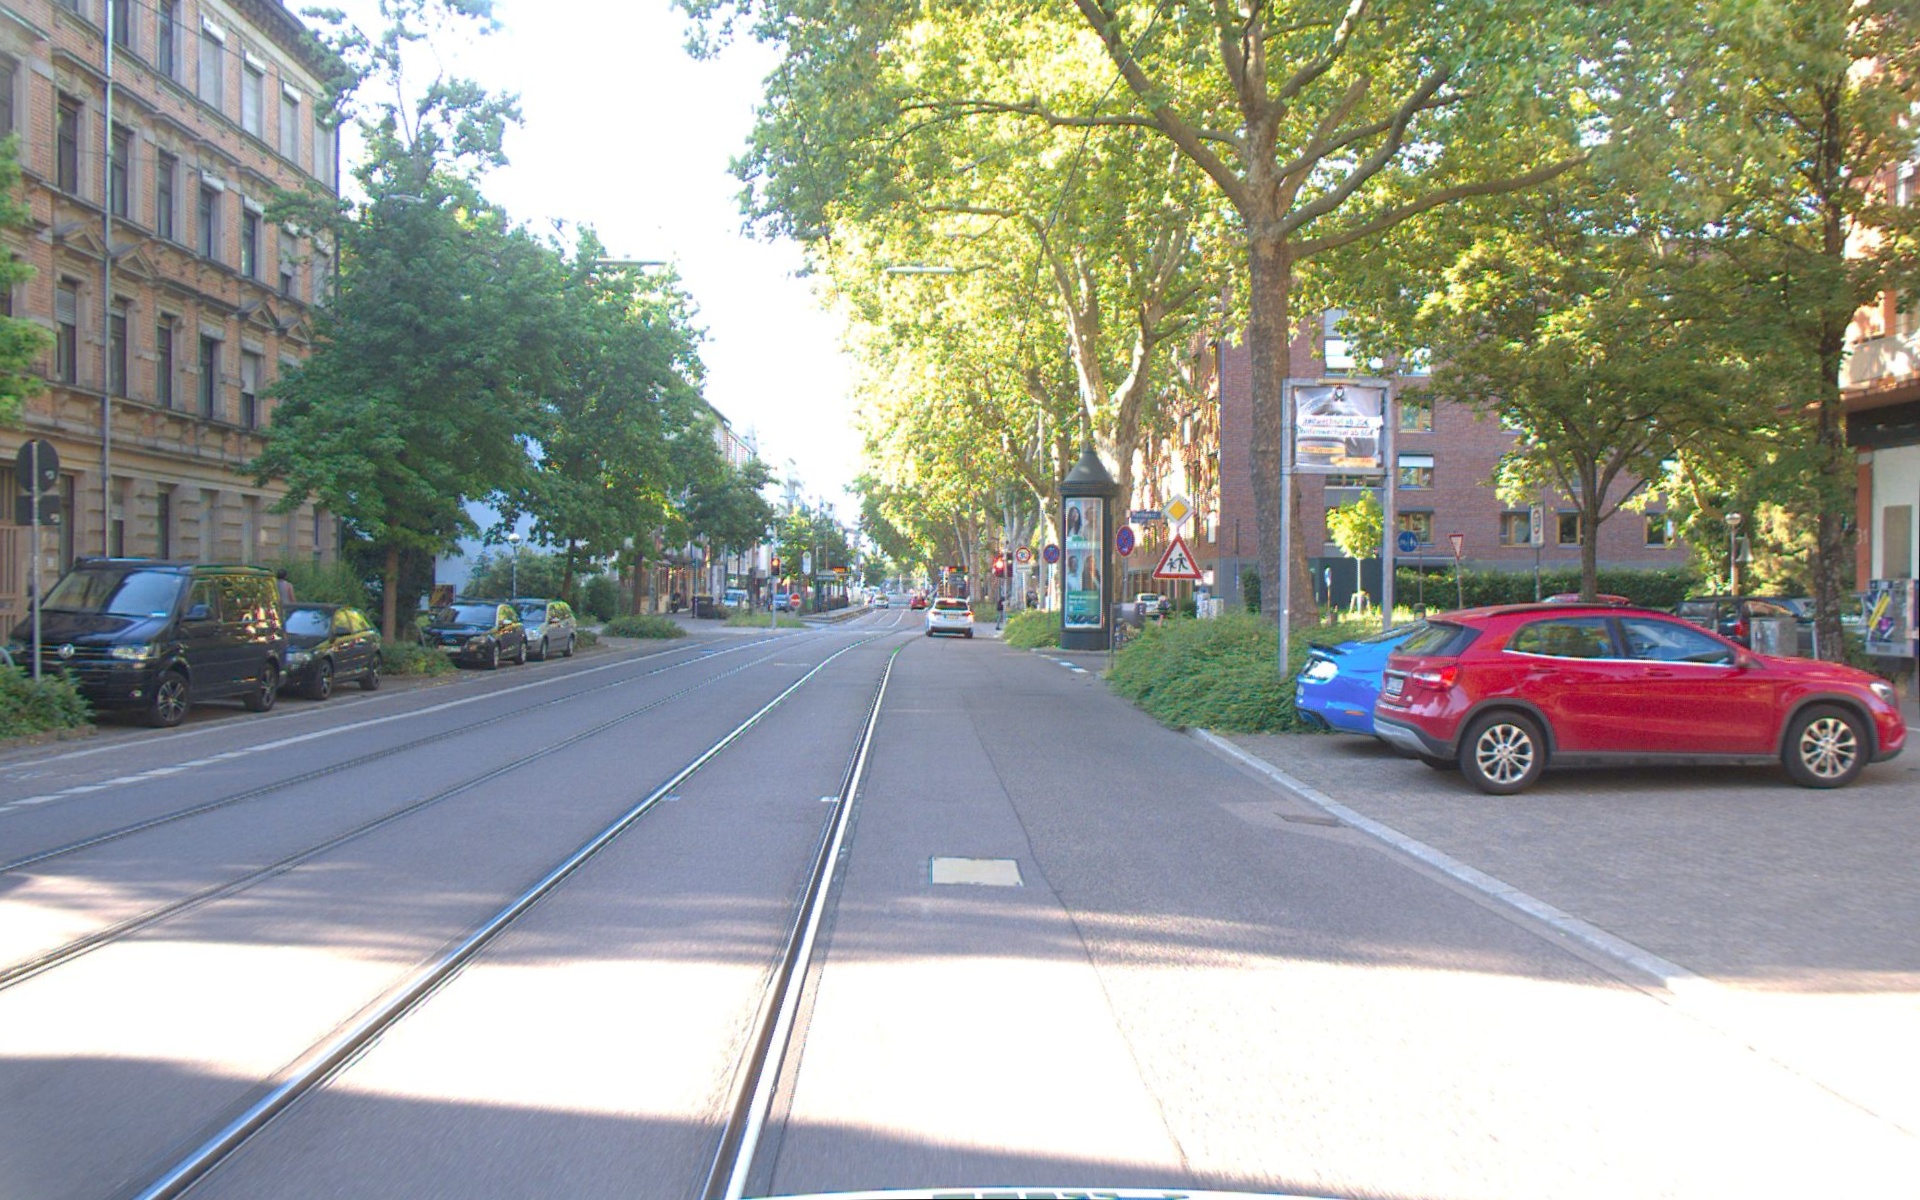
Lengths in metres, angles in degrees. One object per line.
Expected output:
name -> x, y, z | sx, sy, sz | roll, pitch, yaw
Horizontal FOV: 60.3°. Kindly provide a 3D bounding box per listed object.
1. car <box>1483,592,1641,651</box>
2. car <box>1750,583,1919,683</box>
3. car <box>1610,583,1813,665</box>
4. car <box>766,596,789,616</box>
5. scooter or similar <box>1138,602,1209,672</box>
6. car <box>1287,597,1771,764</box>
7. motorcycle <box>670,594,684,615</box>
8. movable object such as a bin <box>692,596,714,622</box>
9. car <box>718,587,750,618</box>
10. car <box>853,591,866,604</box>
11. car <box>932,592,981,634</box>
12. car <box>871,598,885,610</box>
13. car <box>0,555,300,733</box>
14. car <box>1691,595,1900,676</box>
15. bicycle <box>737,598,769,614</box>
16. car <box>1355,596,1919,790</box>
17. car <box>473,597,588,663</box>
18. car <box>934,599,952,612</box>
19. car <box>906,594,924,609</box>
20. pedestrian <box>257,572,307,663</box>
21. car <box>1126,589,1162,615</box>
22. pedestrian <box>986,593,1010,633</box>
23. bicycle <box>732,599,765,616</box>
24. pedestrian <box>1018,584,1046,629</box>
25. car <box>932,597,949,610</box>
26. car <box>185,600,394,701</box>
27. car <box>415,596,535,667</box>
car -> 15.591, 0.534, 42.908 | 3.468, 1.477, 1.682 | 0, 0, -4
car -> 14.575, 0.475, 26.386 | 1.713, 1.460, 4.466 | 0, 0, -1
car -> 15.628, 0.452, 34.699 | 1.755, 1.602, 4.571 | 0, 0, -7
car -> -15.382, 0.486, 139.185 | 1.561, 1.575, 3.998 | 2, 0, -2
scooter or similar -> 3.902, 0.676, 30.259 | 1.184, 1.261, 0.569 | 0, -1, -4
car -> 5.569, 0.752, 16.666 | 4.310, 1.570, 1.819 | 0, 0, 5
motorcycle -> -18.160, 0.313, 106.064 | 0.587, 1.334, 2.221 | 0, 0, -2
movable object such as a bin -> -14.603, 0.496, 94.018 | 1.147, 1.372, 0.782 | 4, -1, -6
car -> -14.629, 0.177, 107.288 | 1.654, 1.974, 3.998 | 0, 0, -2
car -> -15.418, -0.395, 253.831 | 1.828, 1.925, 3.998 | 0, 0, -2
car -> -0.160, 0.474, 62.044 | 1.752, 1.540, 3.998 | 0, 0, -2
car -> -9.488, 0.463, 191.534 | 1.659, 1.444, 3.998 | 0, 0, -2
car -> -10.424, 0.500, 21.508 | 1.954, 2.049, 4.832 | 0, 0, -3
car -> 17.787, 0.695, 35.472 | 1.755, 1.602, 4.571 | 0, 0, -7
bicycle -> -15.290, 0.430, 122.142 | 2.207, 1.092, 0.636 | 3, 0, -1
car -> 5.819, 0.750, 14.390 | 4.313, 1.570, 1.952 | 0, 0, 0
car -> -10.951, 0.723, 42.465 | 1.664, 1.577, 4.537 | 1, 0, 1
car -> -1.923, 0.648, 188.916 | 1.953, 1.478, 3.998 | 0, 0, -2
car -> -4.547, 0.127, 166.277 | 1.752, 1.540, 3.998 | 0, 0, -2
pedestrian -> -14.198, 0.365, 34.633 | 0.727, 1.879, 0.728 | 1, 0, -4
car -> 10.682, 0.111, 96.150 | 1.568, 1.521, 3.415 | 0, 0, -3
pedestrian -> 1.737, 0.591, 75.958 | 0.975, 1.843, 0.863 | 0, 0, -7
bicycle -> -15.178, 0.538, 118.567 | 2.207, 1.092, 0.636 | 3, 0, -1
pedestrian -> 3.157, 0.270, 72.651 | 0.964, 1.896, 1.014 | -3, 0, -7
car -> -2.265, 0.384, 193.993 | 1.953, 1.478, 3.998 | 0, 0, -2
car -> -10.684, 0.752, 26.695 | 1.816, 1.484, 4.268 | 0, 0, -3
car -> -10.788, 0.674, 37.038 | 1.625, 1.470, 3.947 | 1, 0, -2
